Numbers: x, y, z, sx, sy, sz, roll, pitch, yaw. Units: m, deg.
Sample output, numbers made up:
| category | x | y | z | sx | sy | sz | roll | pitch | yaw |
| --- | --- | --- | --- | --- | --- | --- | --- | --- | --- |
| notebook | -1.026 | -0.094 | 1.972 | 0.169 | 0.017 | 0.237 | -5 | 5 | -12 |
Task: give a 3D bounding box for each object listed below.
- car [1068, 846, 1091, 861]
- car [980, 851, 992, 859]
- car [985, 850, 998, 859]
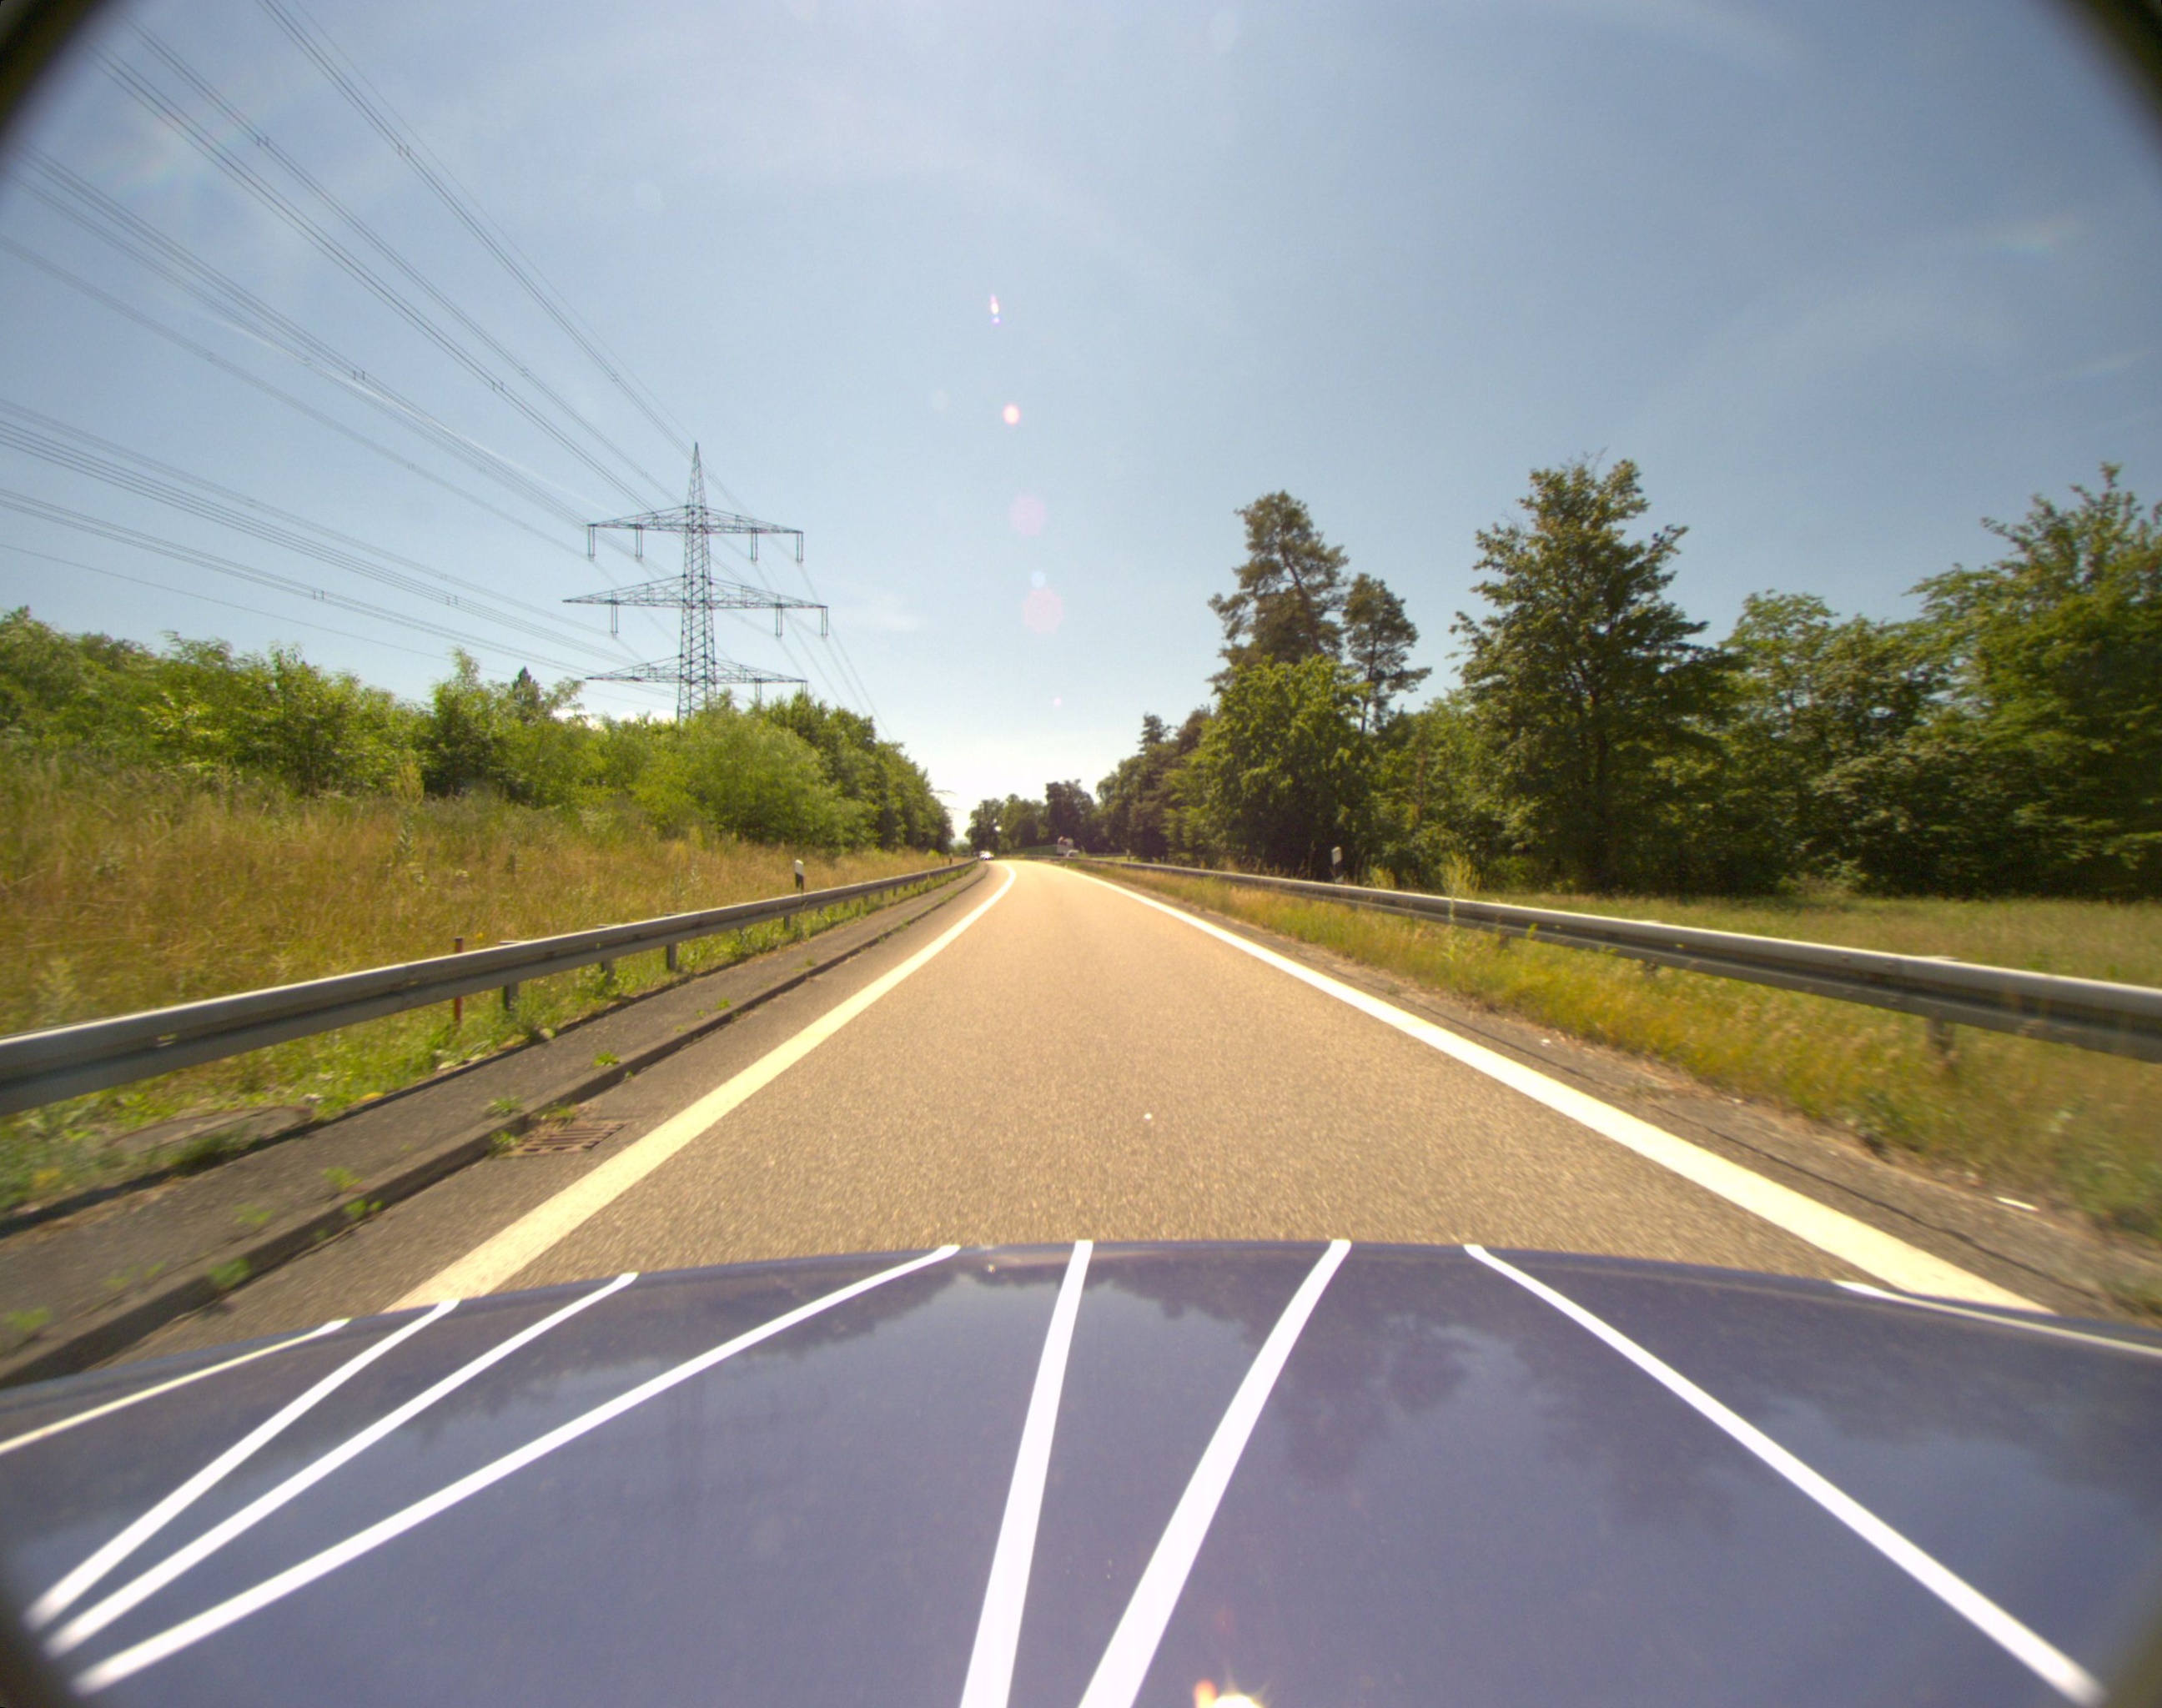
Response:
| category | x | y | z | sx | sy | sz | roll | pitch | yaw |
| --- | --- | --- | --- | --- | --- | --- | --- | --- | --- |
| car | -0.171 | -0.126 | 88.543 | 2.000 | 1.631 | 5.267 | 1 | 0 | -8 |
| car | -20.272 | 0.161 | 162.380 | 2.001 | 1.674 | 3.995 | -2 | 0 | -16 |
| car | -17.110 | 0.171 | 145.095 | 2.001 | 1.674 | 3.995 | -2 | 0 | -16 |
